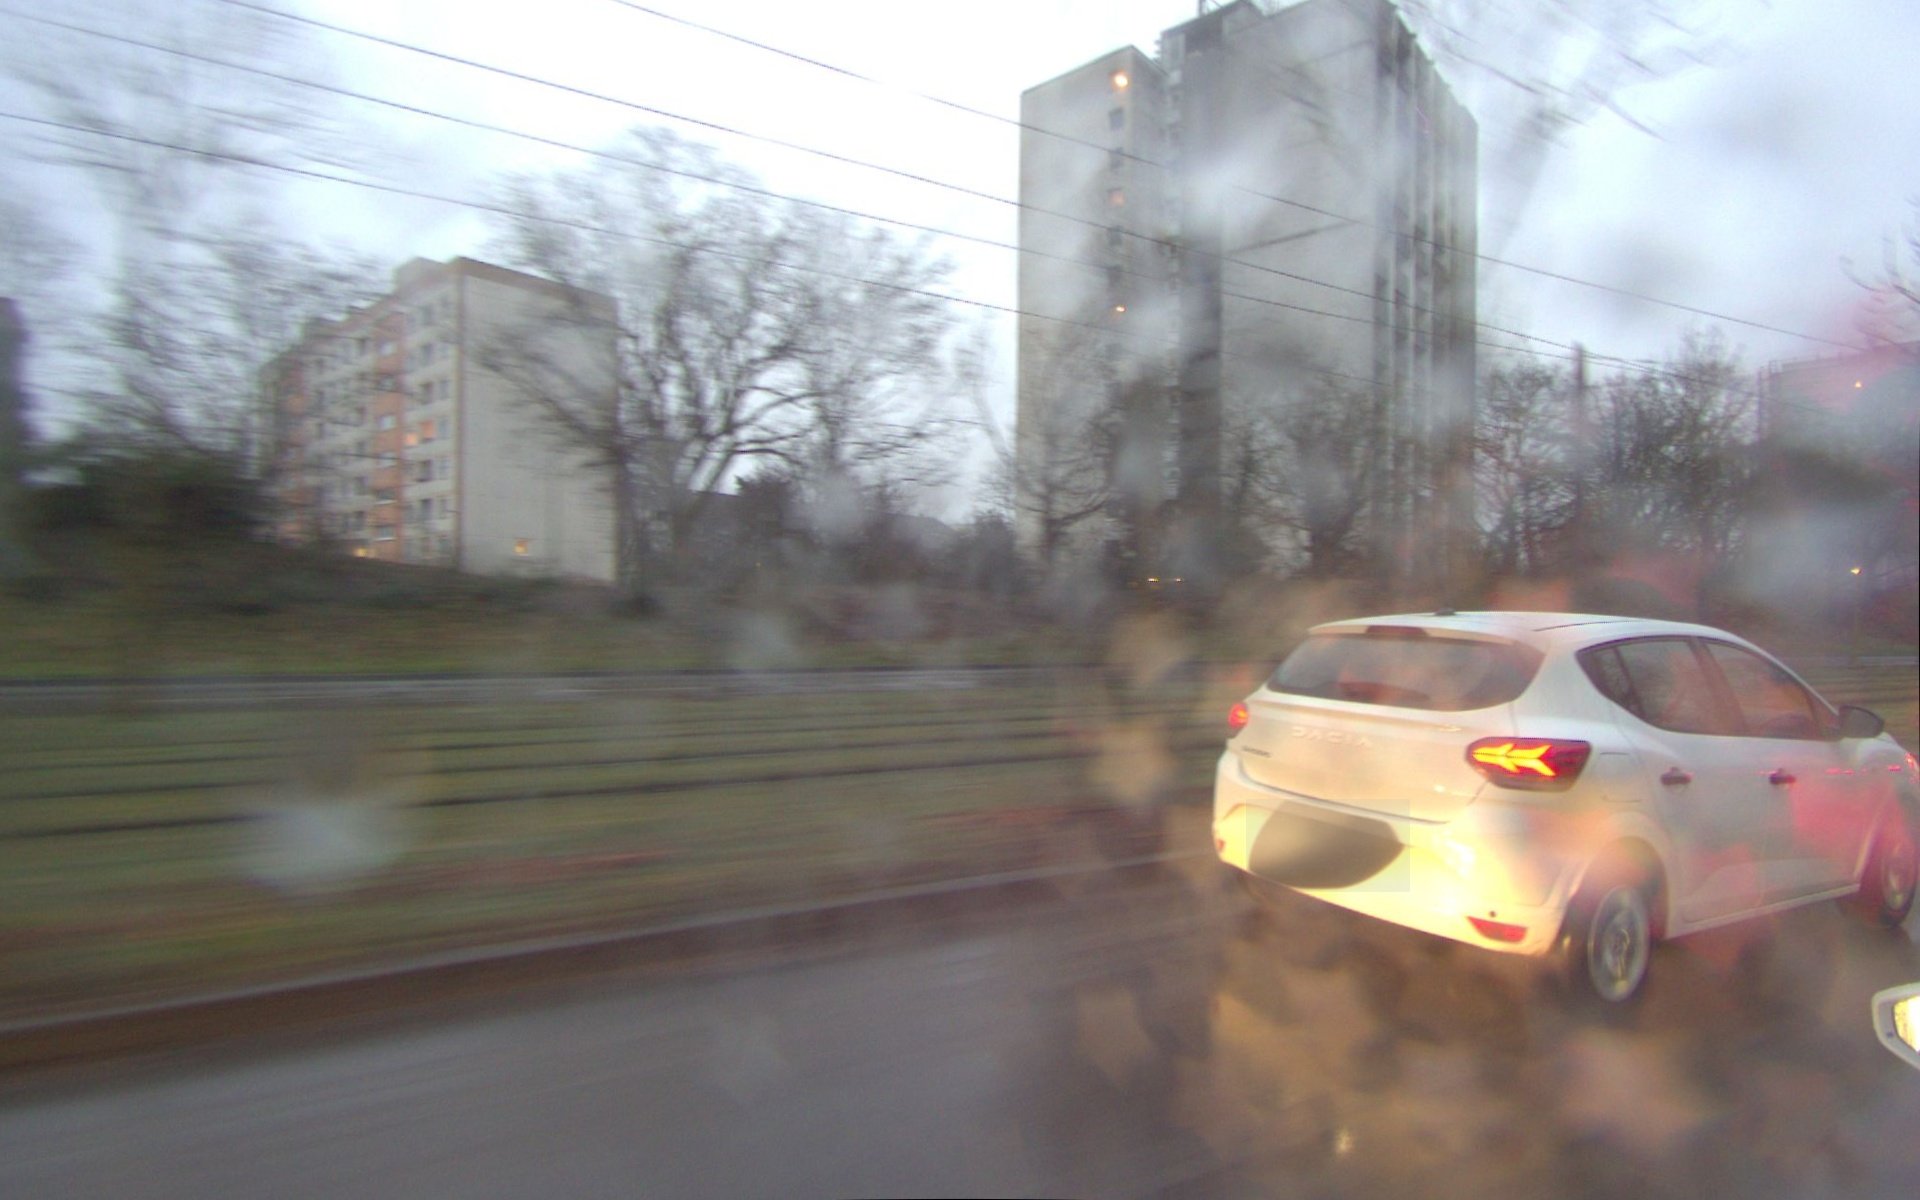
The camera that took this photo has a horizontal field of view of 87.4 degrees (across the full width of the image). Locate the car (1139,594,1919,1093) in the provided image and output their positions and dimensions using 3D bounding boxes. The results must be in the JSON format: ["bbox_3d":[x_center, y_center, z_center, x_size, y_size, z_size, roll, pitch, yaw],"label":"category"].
[{"bbox_3d":[3.015,0.796,4.861,4.084,1.545,1.701,1,-1,-29],"label":"car"}]
